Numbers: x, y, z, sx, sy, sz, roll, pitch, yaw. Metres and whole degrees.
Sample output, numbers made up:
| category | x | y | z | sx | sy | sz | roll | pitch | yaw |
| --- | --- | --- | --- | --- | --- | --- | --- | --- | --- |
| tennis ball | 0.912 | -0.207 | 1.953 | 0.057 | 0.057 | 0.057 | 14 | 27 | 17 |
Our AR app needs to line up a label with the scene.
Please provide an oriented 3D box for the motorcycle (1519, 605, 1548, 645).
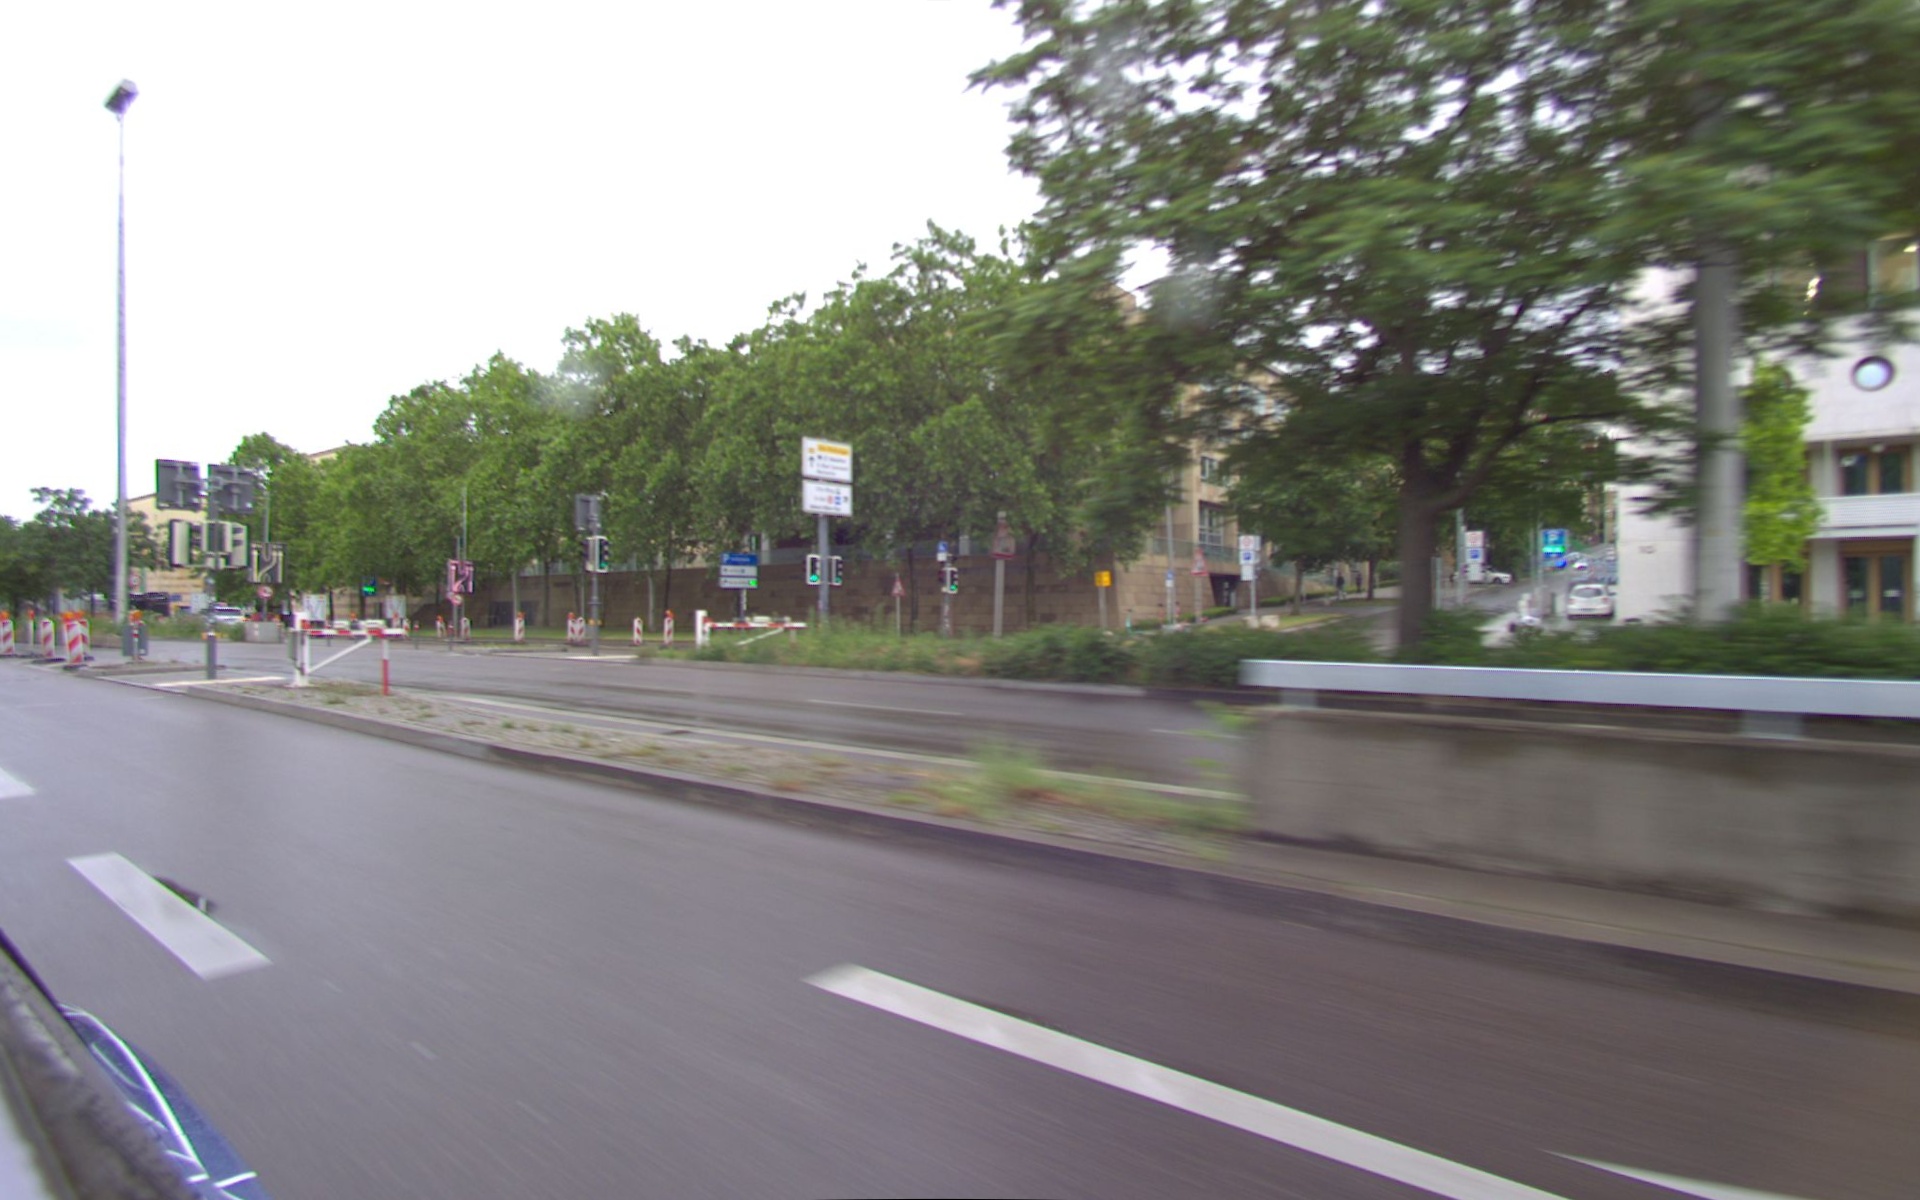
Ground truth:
| category | x | y | z | sx | sy | sz | roll | pitch | yaw |
| --- | --- | --- | --- | --- | --- | --- | --- | --- | --- |
| motorcycle | 17.846 | 0.769 | 31.518 | 0.603 | 1.191 | 1.801 | -1 | 0 | 25 |

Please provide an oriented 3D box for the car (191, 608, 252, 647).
| category | x | y | z | sx | sy | sz | roll | pitch | yaw |
| --- | --- | --- | --- | --- | --- | --- | --- | --- | --- |
| car | -46.142 | 1.714 | 63.207 | 4.222 | 2.316 | 1.975 | -1 | 0 | 38 |

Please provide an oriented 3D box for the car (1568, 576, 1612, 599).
| category | x | y | z | sx | sy | sz | roll | pitch | yaw |
| --- | --- | --- | --- | --- | --- | --- | --- | --- | --- |
| car | 41.335 | -0.835 | 66.370 | 2.035 | 1.472 | 3.684 | -1 | 0 | 39 |

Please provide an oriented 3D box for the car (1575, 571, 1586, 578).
| category | x | y | z | sx | sy | sz | roll | pitch | yaw |
| --- | --- | --- | --- | --- | --- | --- | --- | --- | --- |
| car | 85.898 | -3.563 | 140.008 | 1.008 | 0.921 | 2.480 | -1 | 0 | 39 |

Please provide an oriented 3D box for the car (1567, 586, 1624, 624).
| category | x | y | z | sx | sy | sz | roll | pitch | yaw |
| --- | --- | --- | --- | --- | --- | --- | --- | --- | --- |
| car | 28.606 | 0.199 | 45.547 | 1.760 | 1.624 | 3.486 | -1 | 0 | 39 |

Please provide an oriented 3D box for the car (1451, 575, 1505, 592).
| category | x | y | z | sx | sy | sz | roll | pitch | yaw |
| --- | --- | --- | --- | --- | --- | --- | --- | --- | --- |
| car | 45.605 | -1.422 | 89.124 | 3.959 | 1.375 | 1.589 | -1 | 0 | 38 |
